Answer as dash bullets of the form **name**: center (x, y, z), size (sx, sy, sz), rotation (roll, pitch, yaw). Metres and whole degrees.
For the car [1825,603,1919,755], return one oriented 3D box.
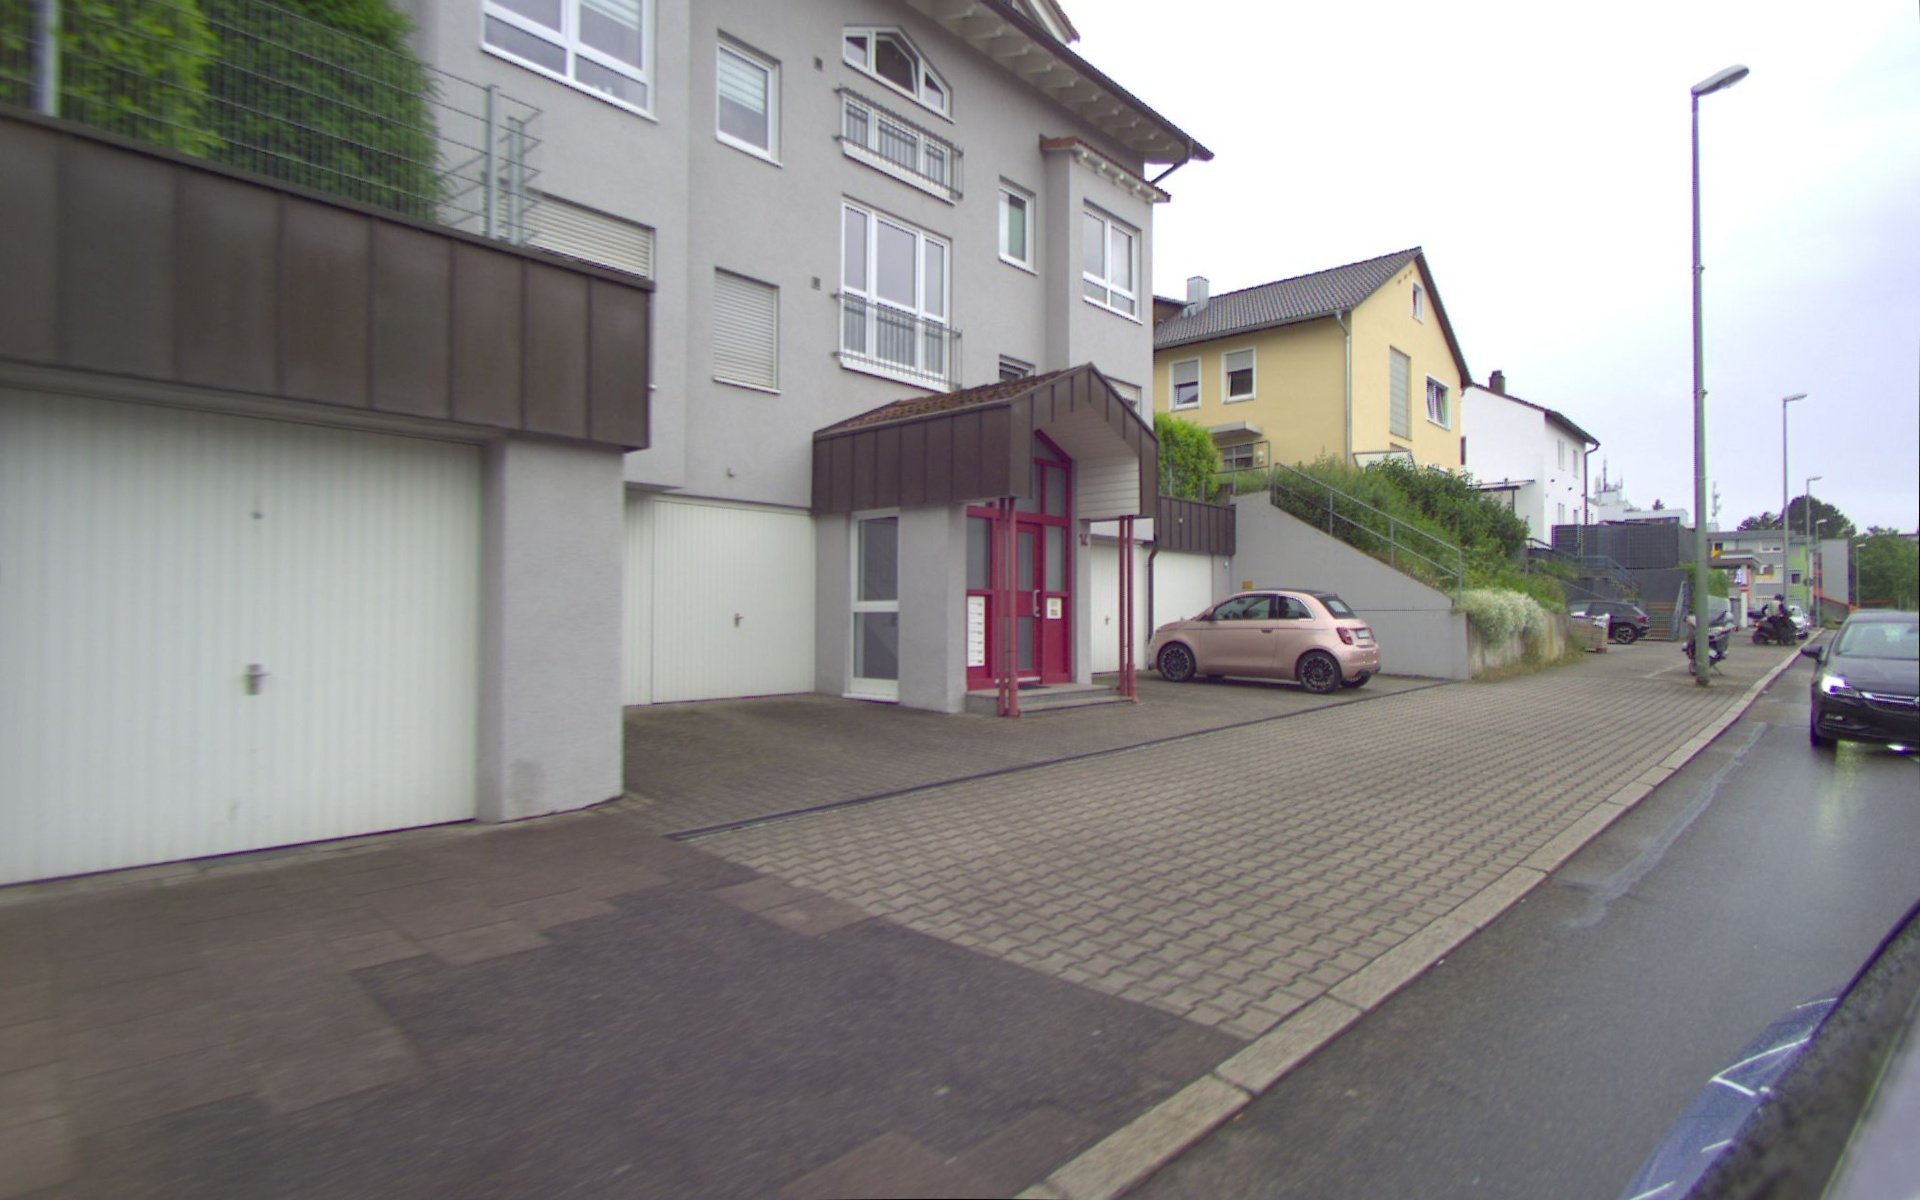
- **car**: center (10.827, 0.793, 11.225), size (1.834, 1.415, 3.941), rotation (2, 2, 41)

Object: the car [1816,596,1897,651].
- **car**: center (28.654, 0.762, 32.325), size (1.836, 1.476, 3.936), rotation (2, -3, 43)

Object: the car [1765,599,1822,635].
- **car**: center (37.763, 0.752, 45.835), size (1.732, 1.508, 3.937), rotation (2, 1, 43)

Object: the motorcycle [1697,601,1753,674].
- **motorcycle**: center (15.136, 0.692, 19.993), size (0.692, 1.341, 2.442), rotation (2, 1, 41)

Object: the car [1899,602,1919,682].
- **car**: center (19.156, 0.846, 19.228), size (1.905, 1.416, 4.780), rotation (1, -1, 43)

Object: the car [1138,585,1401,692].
- **car**: center (4.855, 0.526, 16.061), size (3.625, 1.504, 1.787), rotation (0, 0, 39)

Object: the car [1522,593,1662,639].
- **car**: center (21.843, 0.523, 35.043), size (3.977, 1.420, 1.651), rotation (2, 1, 37)

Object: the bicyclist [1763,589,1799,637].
- **bicyclist**: center (29.433, 0.450, 36.277), size (0.889, 1.663, 0.810), rotation (1, 1, -38)

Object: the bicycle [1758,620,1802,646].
- **bicycle**: center (29.426, 1.171, 36.314), size (2.193, 0.837, 0.733), rotation (1, 1, -37)
